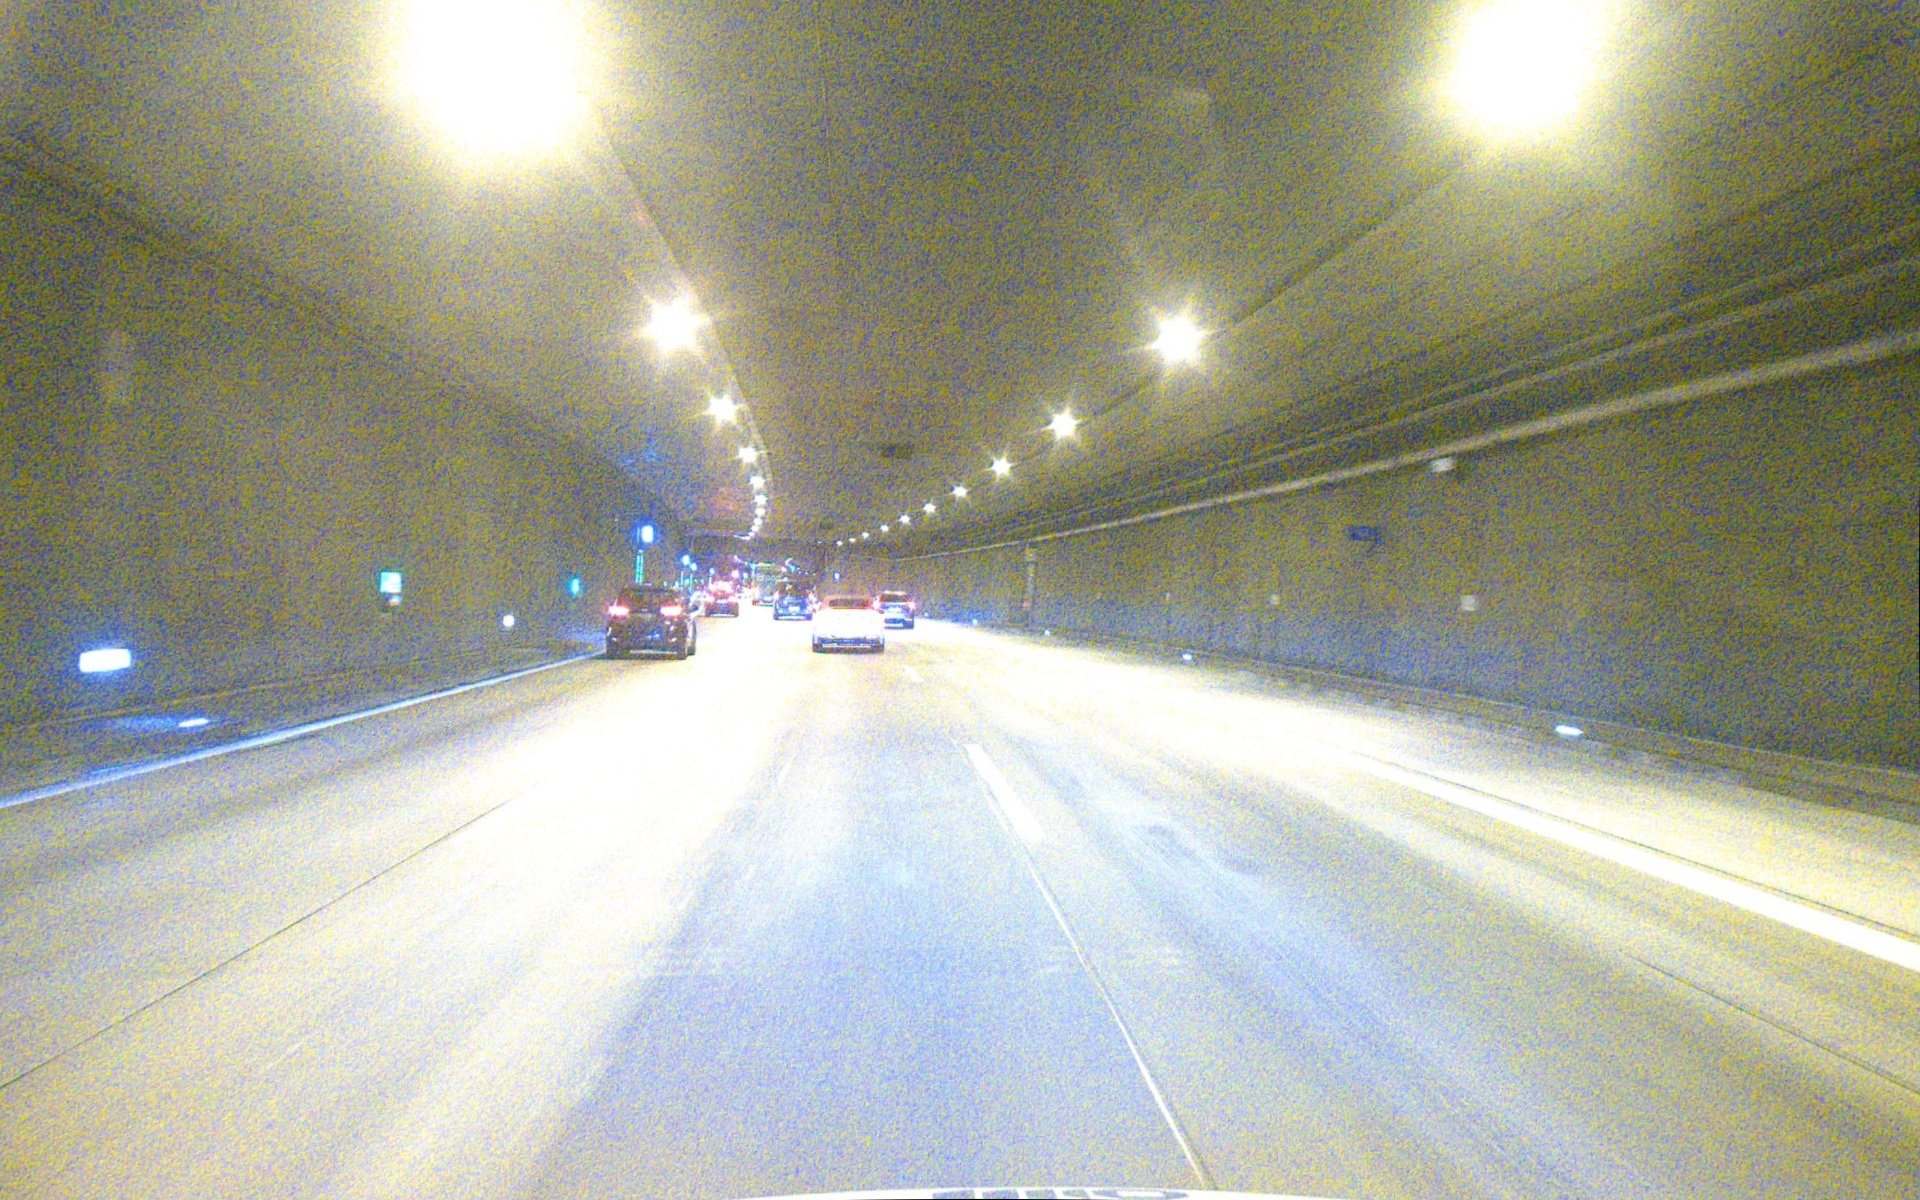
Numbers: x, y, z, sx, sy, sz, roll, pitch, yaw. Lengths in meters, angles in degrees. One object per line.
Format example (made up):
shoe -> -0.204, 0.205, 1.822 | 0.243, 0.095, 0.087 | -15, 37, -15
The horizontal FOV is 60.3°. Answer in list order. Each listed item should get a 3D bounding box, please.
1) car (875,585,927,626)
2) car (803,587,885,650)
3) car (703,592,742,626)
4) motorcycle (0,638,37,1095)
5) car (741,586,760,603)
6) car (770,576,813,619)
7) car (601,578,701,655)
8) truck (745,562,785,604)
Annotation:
car -> -2.444, 0.223, 67.869 | 1.804, 1.630, 3.994 | 1, 0, -7
car -> -2.905, 0.442, 42.125 | 1.954, 1.509, 3.998 | 1, 0, -3
car -> -12.250, 0.458, 85.443 | 1.765, 1.713, 3.996 | 1, 0, -5
motorcycle -> -3.095, 0.736, 3.444 | 0.828, 1.267, 2.604 | 1, 0, 1
car -> -23.669, -0.636, 187.121 | 1.955, 1.785, 3.994 | 2, 0, -7
car -> -8.186, -0.122, 80.579 | 1.954, 2.006, 3.996 | 1, 0, -5
car -> -6.855, 0.334, 36.967 | 1.750, 1.626, 3.798 | 1, 0, -4
truck -> -15.943, -1.447, 135.086 | 3.024, 3.167, 10.015 | 2, 1, -7
